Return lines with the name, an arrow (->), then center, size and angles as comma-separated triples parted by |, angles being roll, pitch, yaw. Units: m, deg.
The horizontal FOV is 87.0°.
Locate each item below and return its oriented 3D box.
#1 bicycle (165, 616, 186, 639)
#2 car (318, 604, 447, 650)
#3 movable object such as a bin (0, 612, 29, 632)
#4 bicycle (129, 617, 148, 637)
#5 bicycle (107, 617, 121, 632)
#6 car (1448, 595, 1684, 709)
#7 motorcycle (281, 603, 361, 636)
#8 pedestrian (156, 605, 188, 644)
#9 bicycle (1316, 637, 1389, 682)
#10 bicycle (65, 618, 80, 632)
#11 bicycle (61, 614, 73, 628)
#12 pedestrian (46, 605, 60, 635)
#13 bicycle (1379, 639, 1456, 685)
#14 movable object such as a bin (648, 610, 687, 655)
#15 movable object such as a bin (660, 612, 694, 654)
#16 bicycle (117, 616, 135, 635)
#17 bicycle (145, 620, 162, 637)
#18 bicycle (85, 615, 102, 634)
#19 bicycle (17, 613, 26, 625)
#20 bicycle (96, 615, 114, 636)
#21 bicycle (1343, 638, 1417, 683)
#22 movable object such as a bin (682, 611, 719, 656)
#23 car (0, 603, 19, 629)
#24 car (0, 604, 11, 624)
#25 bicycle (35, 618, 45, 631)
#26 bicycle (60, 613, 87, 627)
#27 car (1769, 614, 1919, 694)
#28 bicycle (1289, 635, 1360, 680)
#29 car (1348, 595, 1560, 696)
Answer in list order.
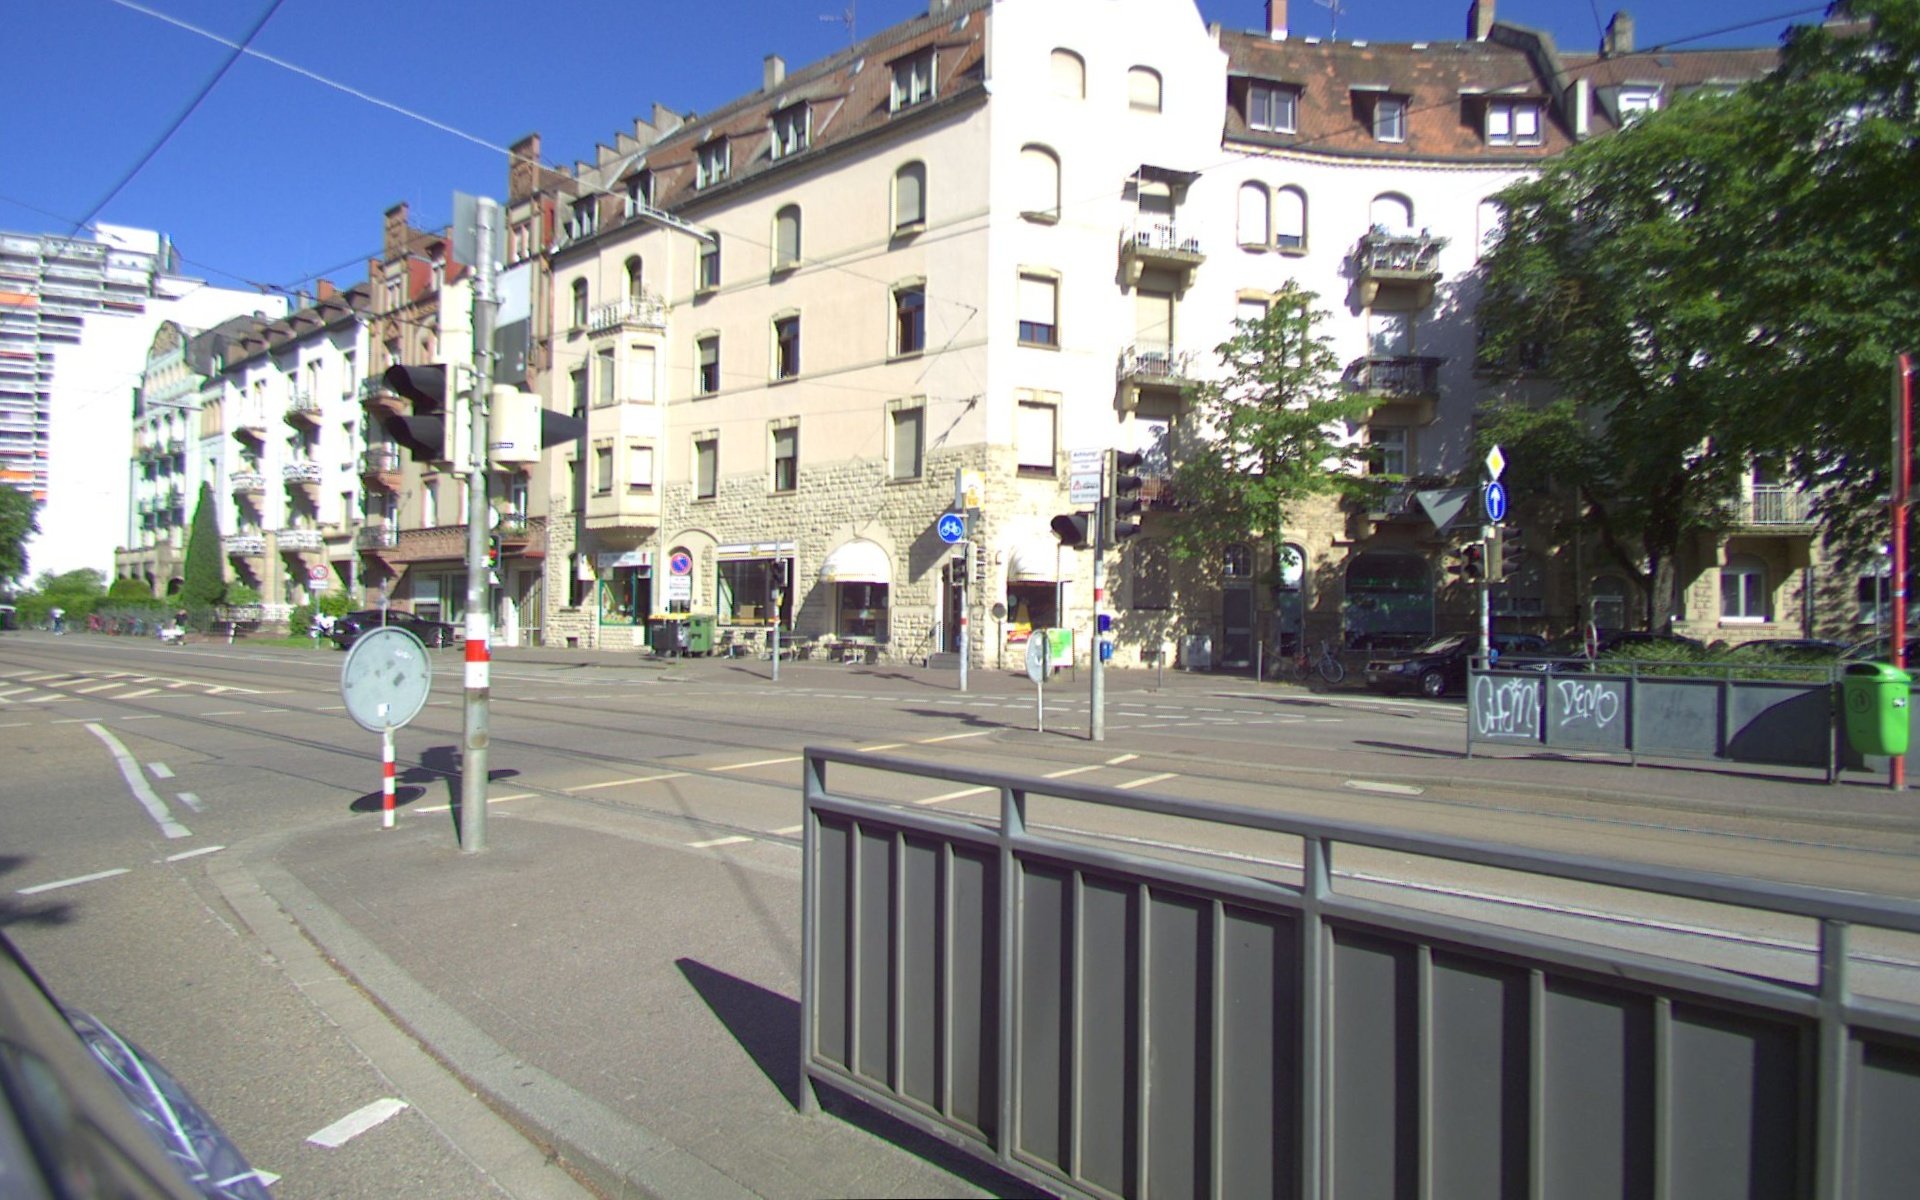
bicycle -> -36.950, 1.299, 47.643 | 1.747, 1.047, 0.400 | 1, 0, 40
car -> -22.174, 0.995, 38.974 | 1.766, 1.514, 3.956 | 1, 2, 32
movable object such as a bin -> -66.444, 1.501, 70.909 | 2.094, 1.326, 1.482 | 1, 0, 39
bicycle -> -41.400, 1.343, 50.991 | 1.747, 0.949, 0.400 | 1, 0, 40
bicycle -> -44.461, 1.295, 53.180 | 1.541, 0.767, 0.314 | 1, 0, 40
car -> 11.867, 0.948, 19.864 | 3.930, 2.029, 2.007 | 1, 0, -22
motorcycle -> -29.564, 0.864, 46.872 | 0.822, 1.467, 3.056 | 1, 0, 36
pedestrian -> -34.451, 1.056, 44.262 | 0.869, 1.640, 0.858 | 1, 4, 39
bicycle -> 9.684, 1.443, 25.043 | 0.600, 0.988, 2.044 | 1, 0, -14
bicycle -> -51.174, 1.454, 58.357 | 1.580, 0.767, 0.400 | 1, 0, 40
bicycle -> -52.334, 1.227, 59.317 | 1.262, 0.767, 0.335 | 1, 0, 40
pedestrian -> -50.320, 1.109, 56.168 | 0.659, 1.641, 0.470 | 1, 0, 39
bicycle -> 11.289, 1.510, 25.039 | 0.600, 0.988, 2.044 | 1, 0, -14
movable object such as a bin -> -9.266, 1.018, 32.070 | 0.844, 1.391, 1.029 | 1, 0, -39
movable object such as a bin -> -9.230, 1.050, 32.987 | 0.844, 1.335, 0.658 | 1, 0, -40
bicycle -> -42.998, 1.302, 52.150 | 1.647, 0.949, 0.400 | 1, 0, 40
bicycle -> -38.883, 1.389, 48.800 | 1.650, 0.767, 0.314 | 1, 0, 40
bicycle -> -47.668, 1.339, 55.664 | 1.814, 1.031, 0.400 | 1, 0, 40
bicycle -> -61.483, 1.267, 66.294 | 1.262, 0.767, 0.293 | 1, 0, 40
bicycle -> -45.842, 1.366, 54.247 | 1.814, 1.031, 0.400 | 1, 0, 40
bicycle -> 10.436, 1.484, 25.221 | 0.600, 0.988, 2.044 | 1, 0, -14
movable object such as a bin -> -8.132, 1.041, 31.709 | 1.011, 1.391, 0.859 | 1, 0, -6
car -> -68.888, 1.120, 71.790 | 1.437, 1.787, 3.191 | 1, -3, -7
car -> -71.195, 1.054, 73.664 | 1.450, 1.446, 2.735 | 1, 0, 22
bicycle -> -57.721, 1.534, 63.473 | 1.262, 0.767, 0.293 | 1, 0, 40
bicycle -> -54.276, 1.211, 61.966 | 0.297, 0.799, 1.246 | 1, 0, 39
car -> 18.160, 1.014, 19.301 | 3.945, 1.442, 1.753 | 0, -2, 1
bicycle -> 8.926, 1.391, 24.844 | 0.600, 0.988, 2.044 | 1, 0, -14
car -> 10.723, 0.931, 22.009 | 3.930, 2.029, 2.007 | 1, 0, -22
